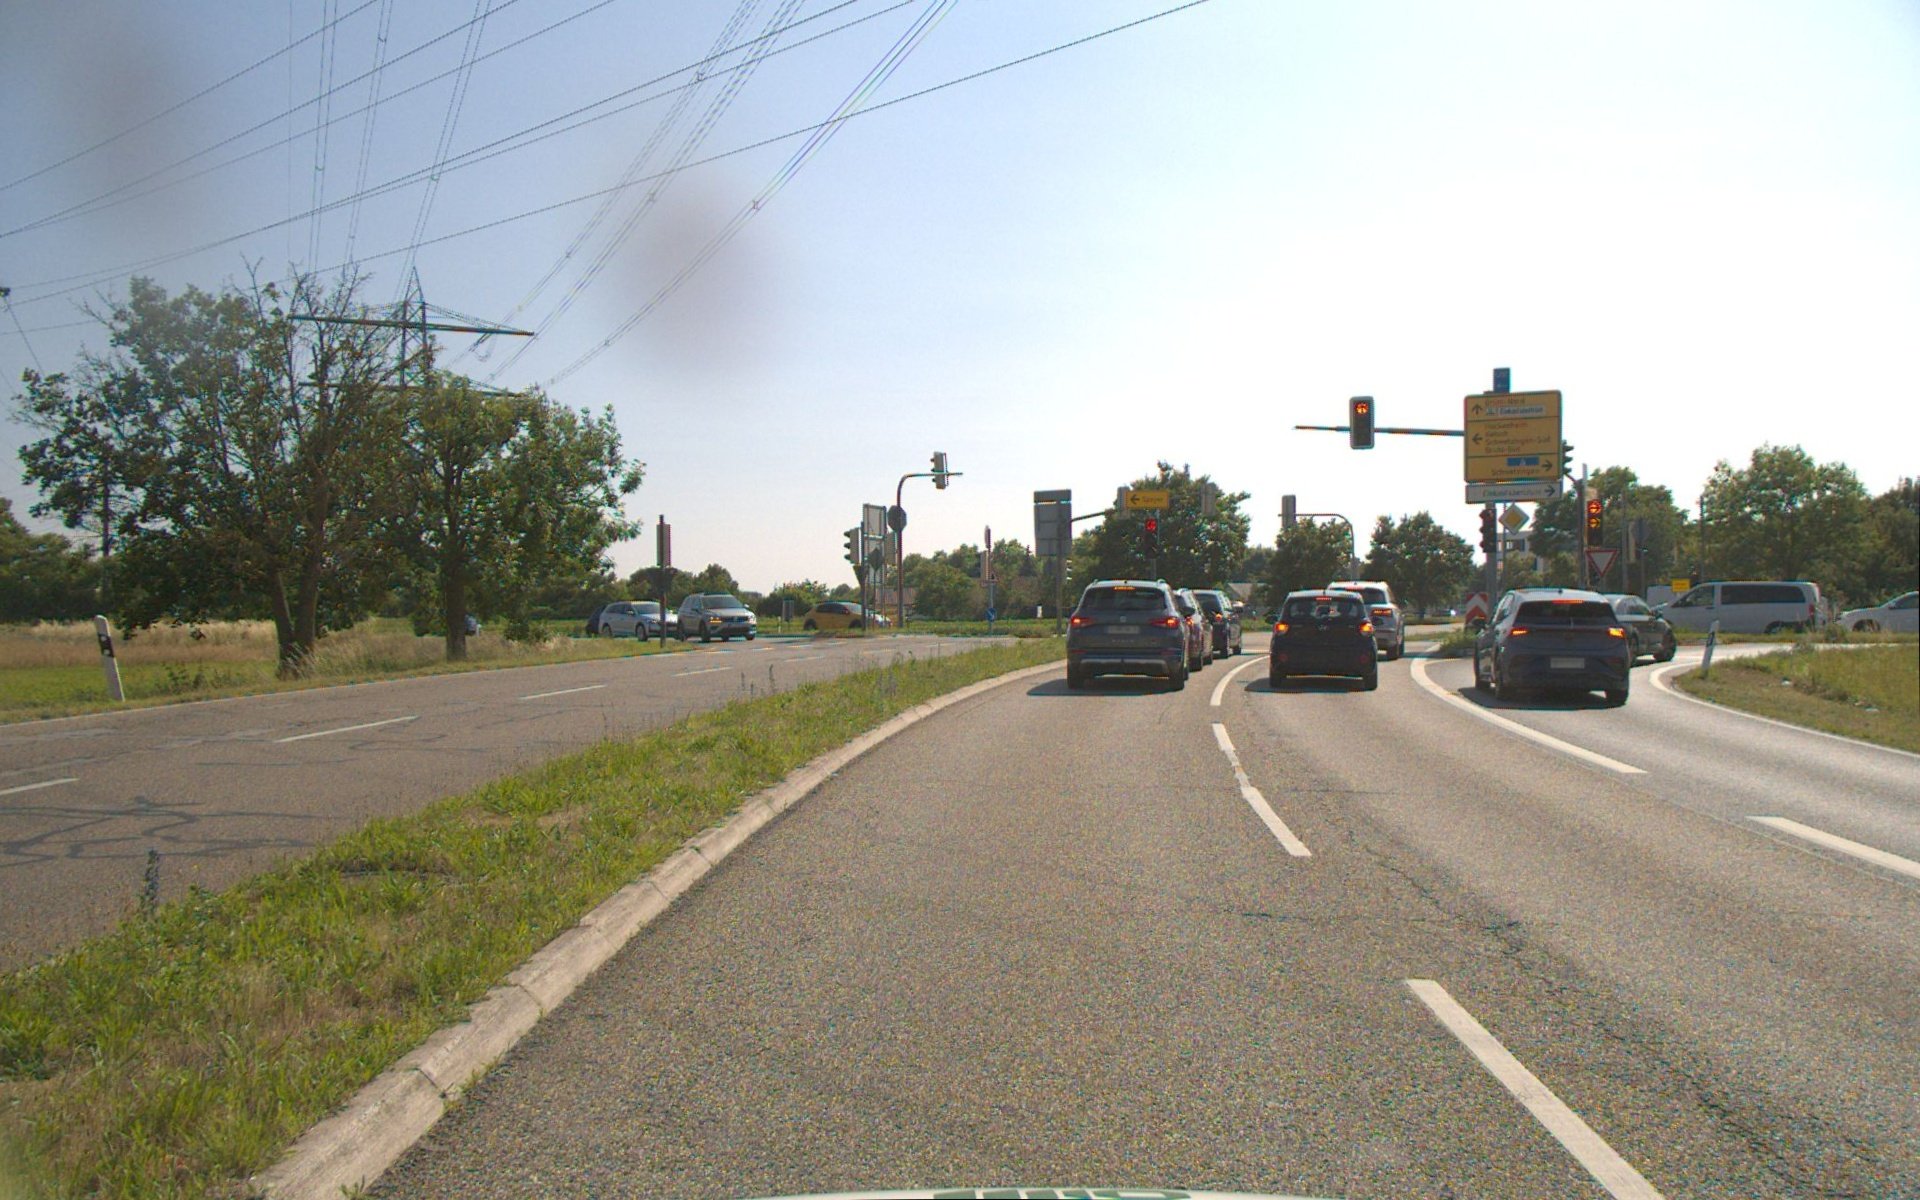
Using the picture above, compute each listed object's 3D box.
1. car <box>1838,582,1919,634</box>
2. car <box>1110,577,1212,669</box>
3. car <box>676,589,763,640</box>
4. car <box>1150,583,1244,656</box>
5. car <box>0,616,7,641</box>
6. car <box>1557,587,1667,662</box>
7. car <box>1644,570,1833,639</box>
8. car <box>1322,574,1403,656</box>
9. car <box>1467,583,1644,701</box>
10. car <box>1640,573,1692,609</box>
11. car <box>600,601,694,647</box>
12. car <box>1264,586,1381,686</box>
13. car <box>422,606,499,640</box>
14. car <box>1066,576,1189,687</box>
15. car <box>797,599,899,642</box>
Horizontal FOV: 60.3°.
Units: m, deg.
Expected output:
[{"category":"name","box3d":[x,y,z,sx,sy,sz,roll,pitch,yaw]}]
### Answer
[{"category":"car","box3d":[28.663,0.233,49.255,4.247,1.545,1.801,-1,0,35]},{"category":"car","box3d":[3.830,0.410,31.068,1.705,1.596,3.627,1,0,10]},{"category":"car","box3d":[-8.311,0.500,56.962,1.793,1.680,3.964,0,0,-27]},{"category":"car","box3d":[5.352,0.414,37.060,1.705,1.510,3.627,1,0,14]},{"category":"car","box3d":[-66.447,1.943,111.917,4.668,1.680,1.812,0,-1,38]},{"category":"car","box3d":[13.350,0.460,33.737,1.610,1.410,3.994,-1,1,29]},{"category":"car","box3d":[23.165,0.100,49.305,4.847,1.951,1.993,1,1,35]},{"category":"car","box3d":[8.996,0.320,36.799,1.598,1.706,3.752,1,0,16]},{"category":"car","box3d":[8.563,0.540,24.113,1.735,1.544,4.103,0,1,10]},{"category":"car","box3d":[44.959,-0.554,105.299,1.899,2.174,4.618,1,0,38]},{"category":"car","box3d":[-11.871,0.884,62.637,1.803,1.680,3.941,0,0,-40]},{"category":"car","box3d":[5.752,0.533,26.527,1.598,1.473,3.298,1,0,9]},{"category":"car","box3d":[-25.577,1.168,84.624,3.921,1.680,1.813,-1,0,37]},{"category":"car","box3d":[2.652,0.452,25.590,1.705,1.596,3.627,0,0,9]},{"category":"car","box3d":[-4.579,0.831,67.449,3.921,1.680,1.813,-1,0,37]}]
